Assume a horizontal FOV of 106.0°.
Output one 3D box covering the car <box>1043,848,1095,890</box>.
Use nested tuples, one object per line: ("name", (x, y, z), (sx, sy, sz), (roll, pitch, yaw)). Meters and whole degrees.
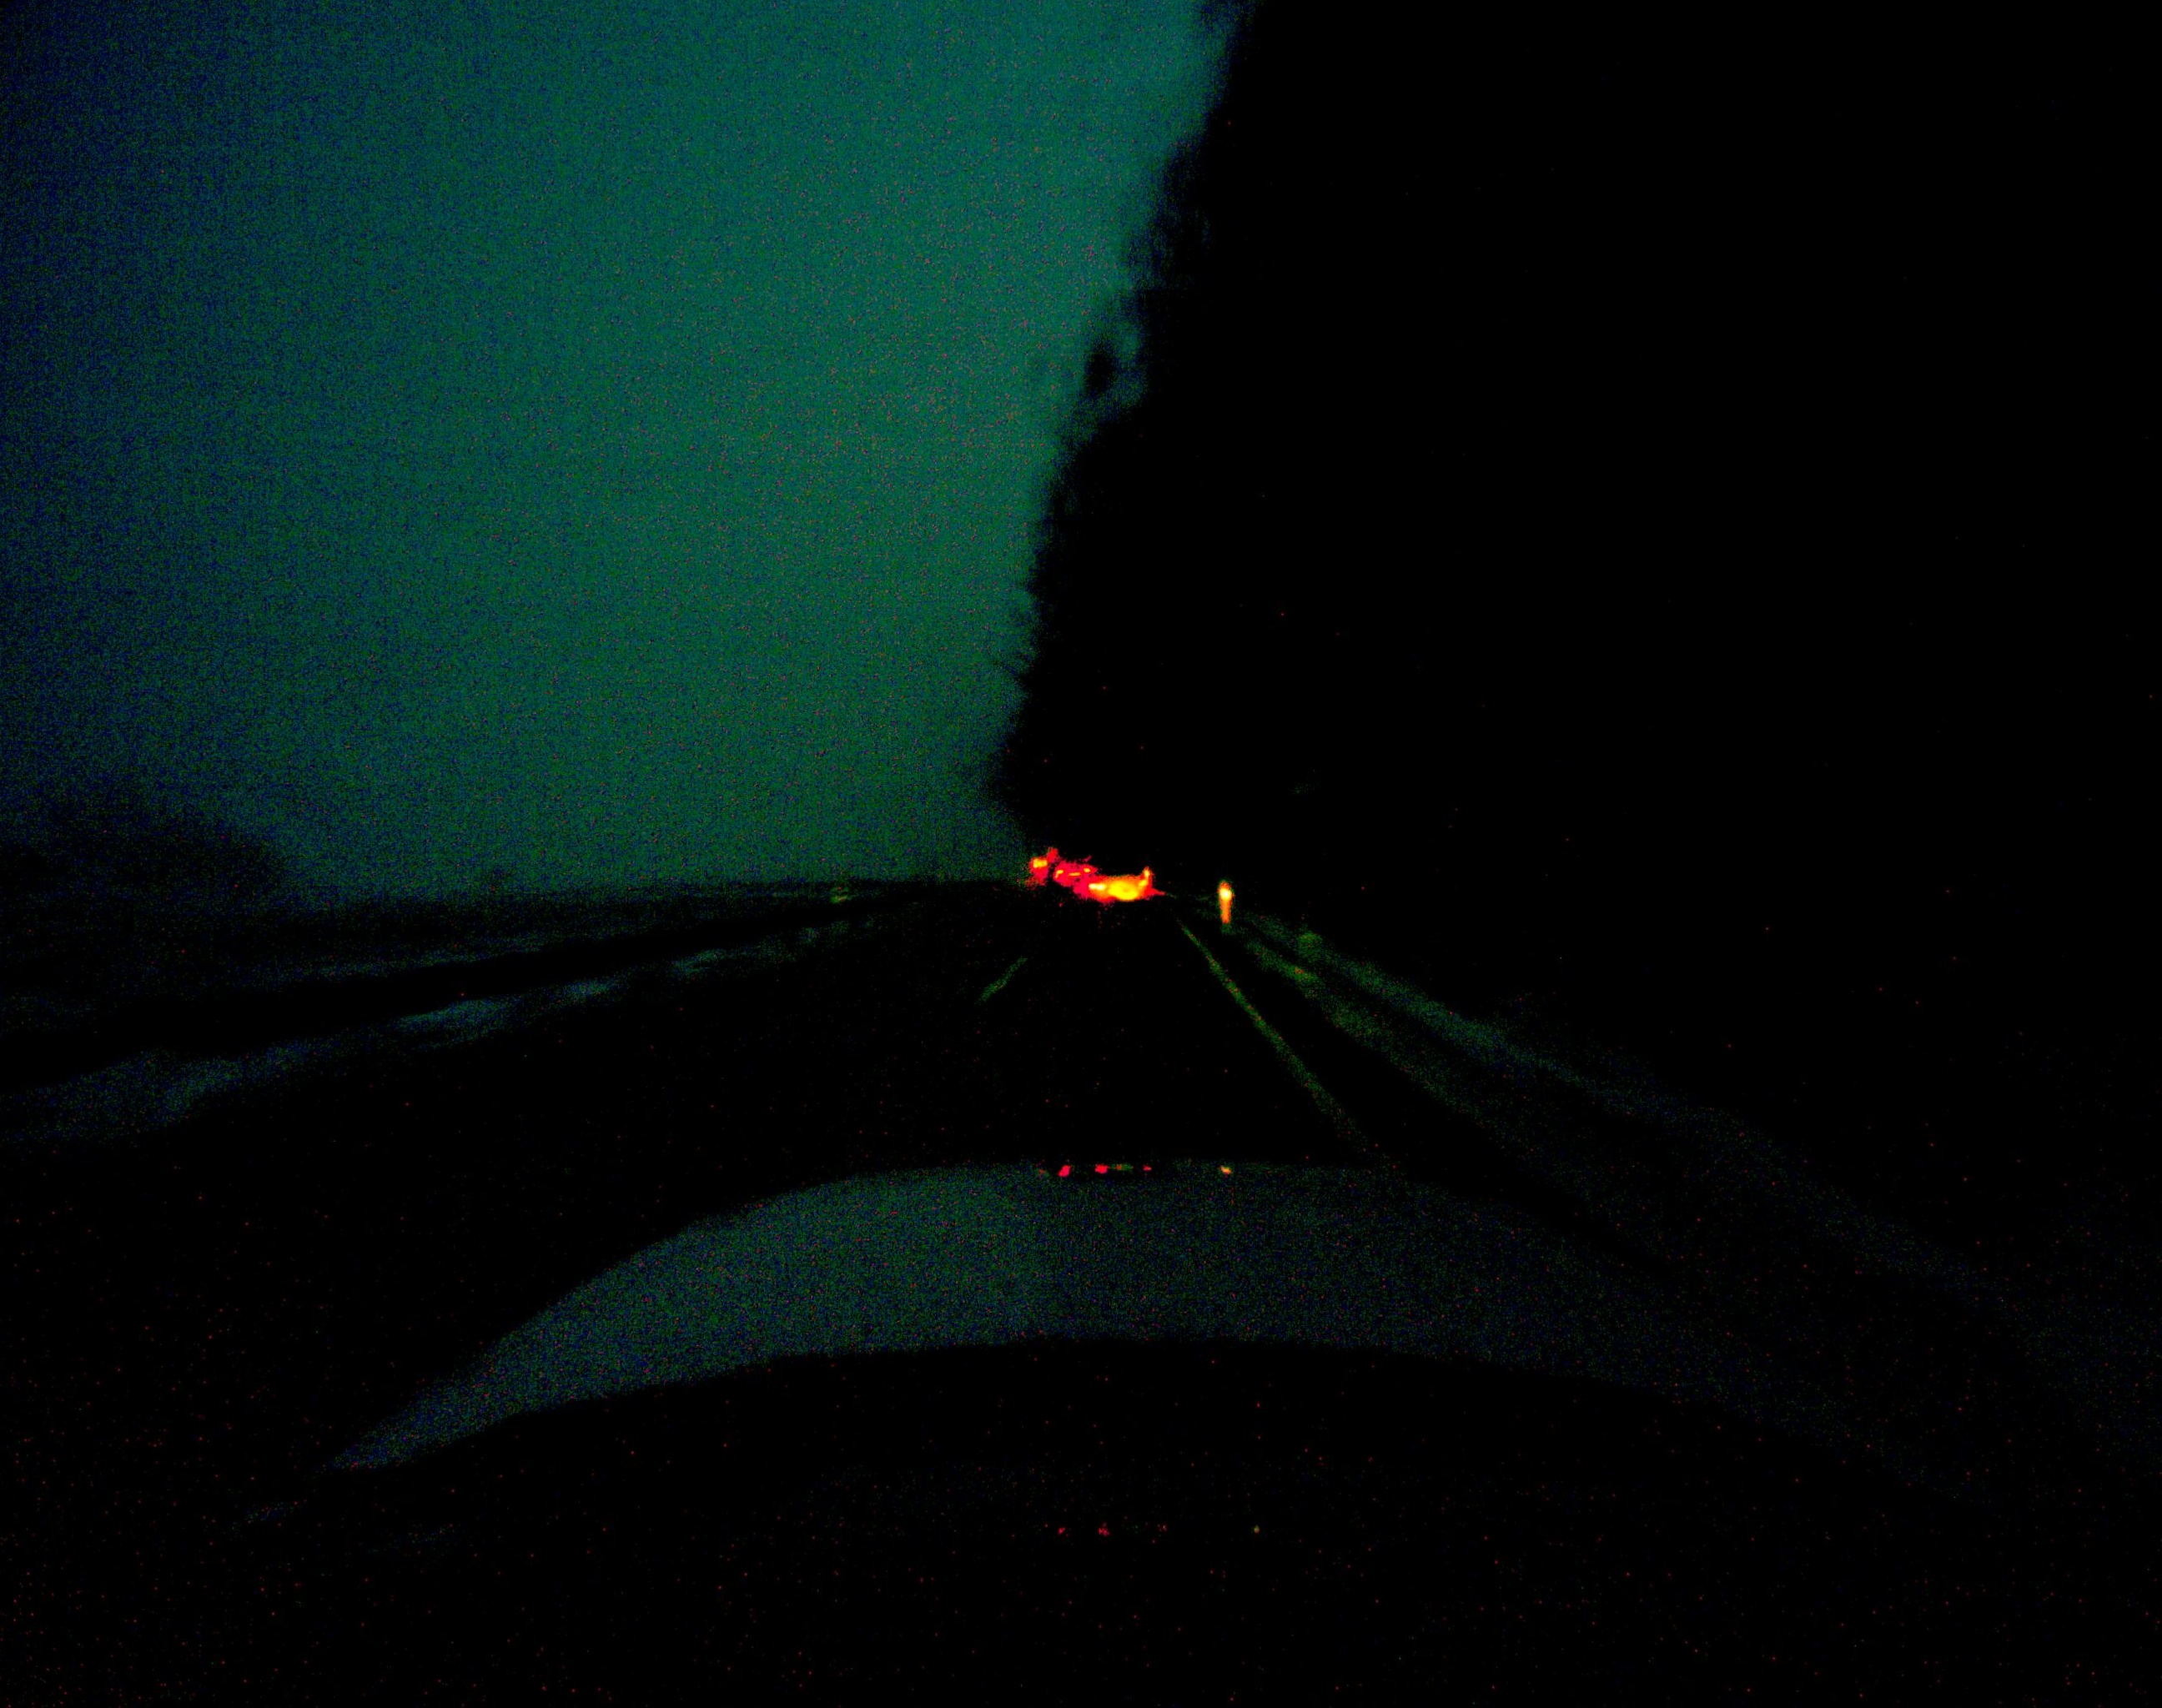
("car", (-0.610, 0.663, 36.981), (1.991, 1.783, 3.991), (1, 0, -7))

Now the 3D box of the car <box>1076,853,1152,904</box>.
("car", (0.907, 0.705, 24.829), (1.941, 1.381, 3.995), (2, -1, -3))
